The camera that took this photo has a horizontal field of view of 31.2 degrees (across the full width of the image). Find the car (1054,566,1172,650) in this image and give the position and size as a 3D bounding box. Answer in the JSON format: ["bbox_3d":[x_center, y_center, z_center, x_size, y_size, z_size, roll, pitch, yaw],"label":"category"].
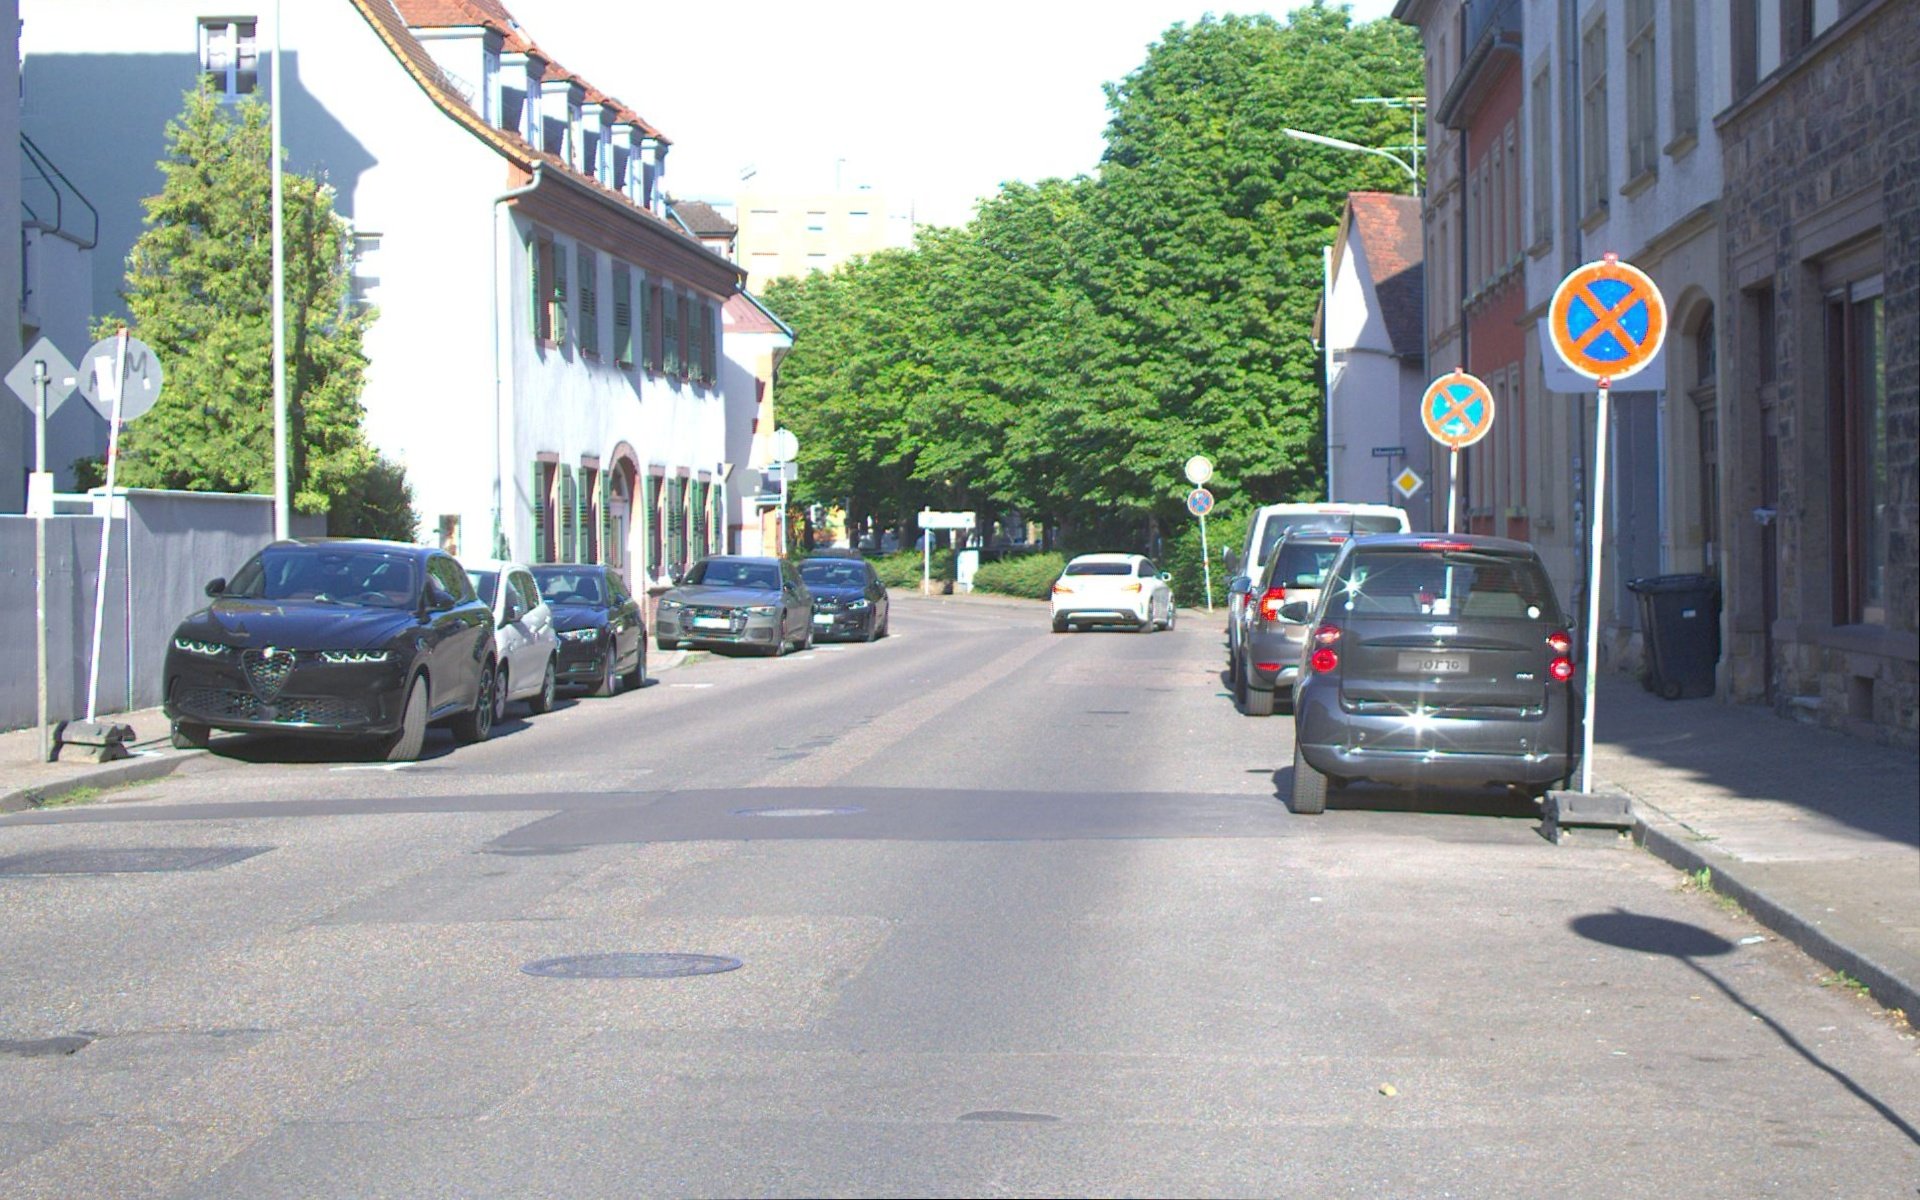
[{"bbox_3d":[2.728,0.127,62.154,1.993,1.461,4.000,0,0,1],"label":"car"}]

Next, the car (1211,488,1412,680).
[{"bbox_3d":[3.651,-0.201,36.258,1.841,1.899,4.000,-1,1,2],"label":"car"}]

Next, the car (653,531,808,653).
[{"bbox_3d":[-3.428,-0.160,52.064,1.910,1.754,4.128,-1,1,2],"label":"car"}]

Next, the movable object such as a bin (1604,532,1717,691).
[{"bbox_3d":[6.225,0.094,30.595,0.871,1.373,0.685,-1,1,3],"label":"movable object such as a bin"}]

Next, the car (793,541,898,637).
[{"bbox_3d":[-2.014,-0.219,61.071,1.631,1.625,3.174,-1,1,2],"label":"car"}]

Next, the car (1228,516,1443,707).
[{"bbox_3d":[3.419,0.061,31.501,1.818,1.625,3.999,-1,1,6],"label":"car"}]

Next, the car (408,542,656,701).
[{"bbox_3d":[-4.635,0.192,37.767,2.092,1.625,3.822,-1,1,2],"label":"car"}]

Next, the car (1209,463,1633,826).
[{"bbox_3d":[2.558,0.191,20.015,2.011,1.846,4.000,2,1,2],"label":"car"}]

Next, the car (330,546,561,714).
[{"bbox_3d":[-4.717,0.242,31.862,1.553,1.453,3.061,-1,1,2],"label":"car"}]
